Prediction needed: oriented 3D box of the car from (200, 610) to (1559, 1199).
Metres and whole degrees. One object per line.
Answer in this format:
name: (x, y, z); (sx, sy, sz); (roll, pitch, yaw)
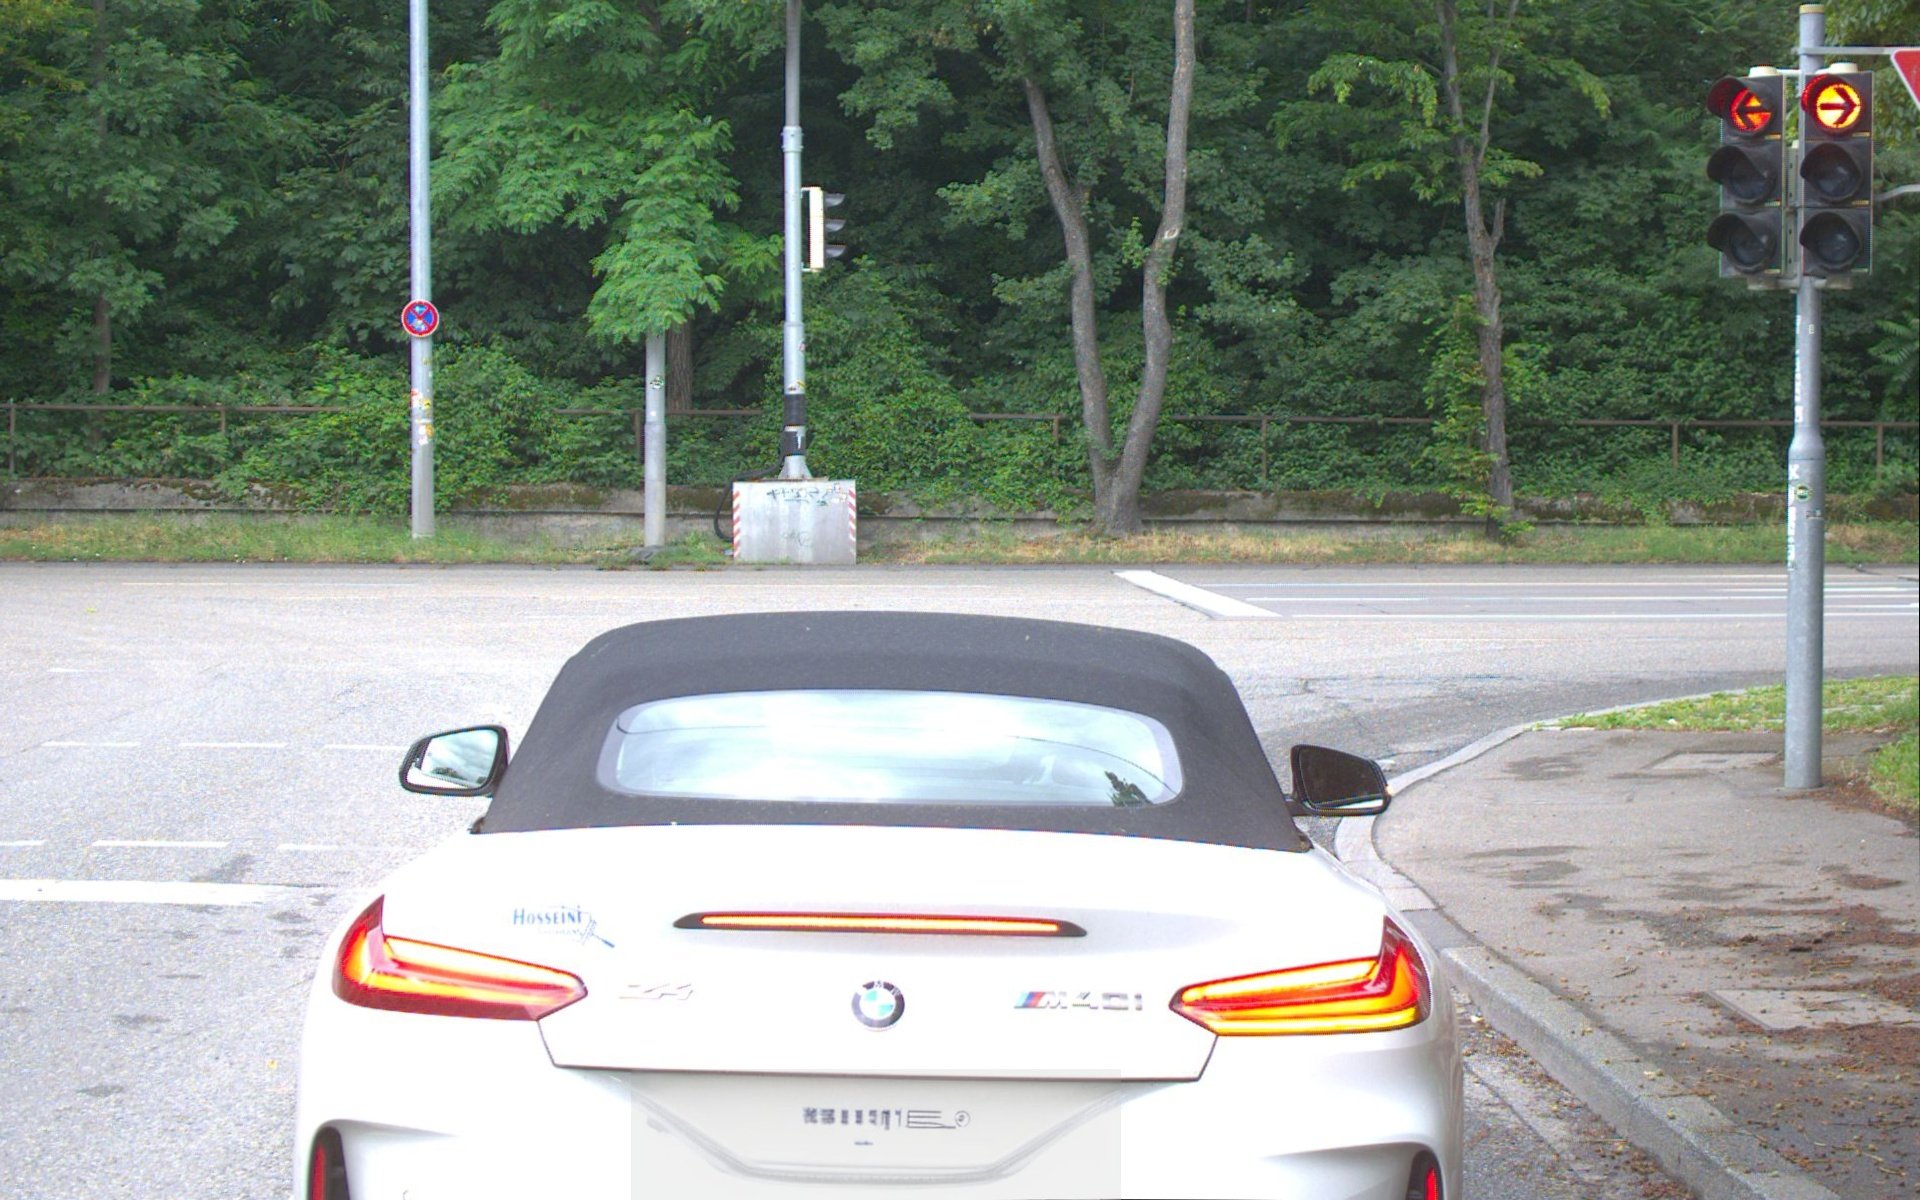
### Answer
car: (-0.201, 0.671, 6.669); (1.827, 1.253, 4.000); (2, 0, -3)
